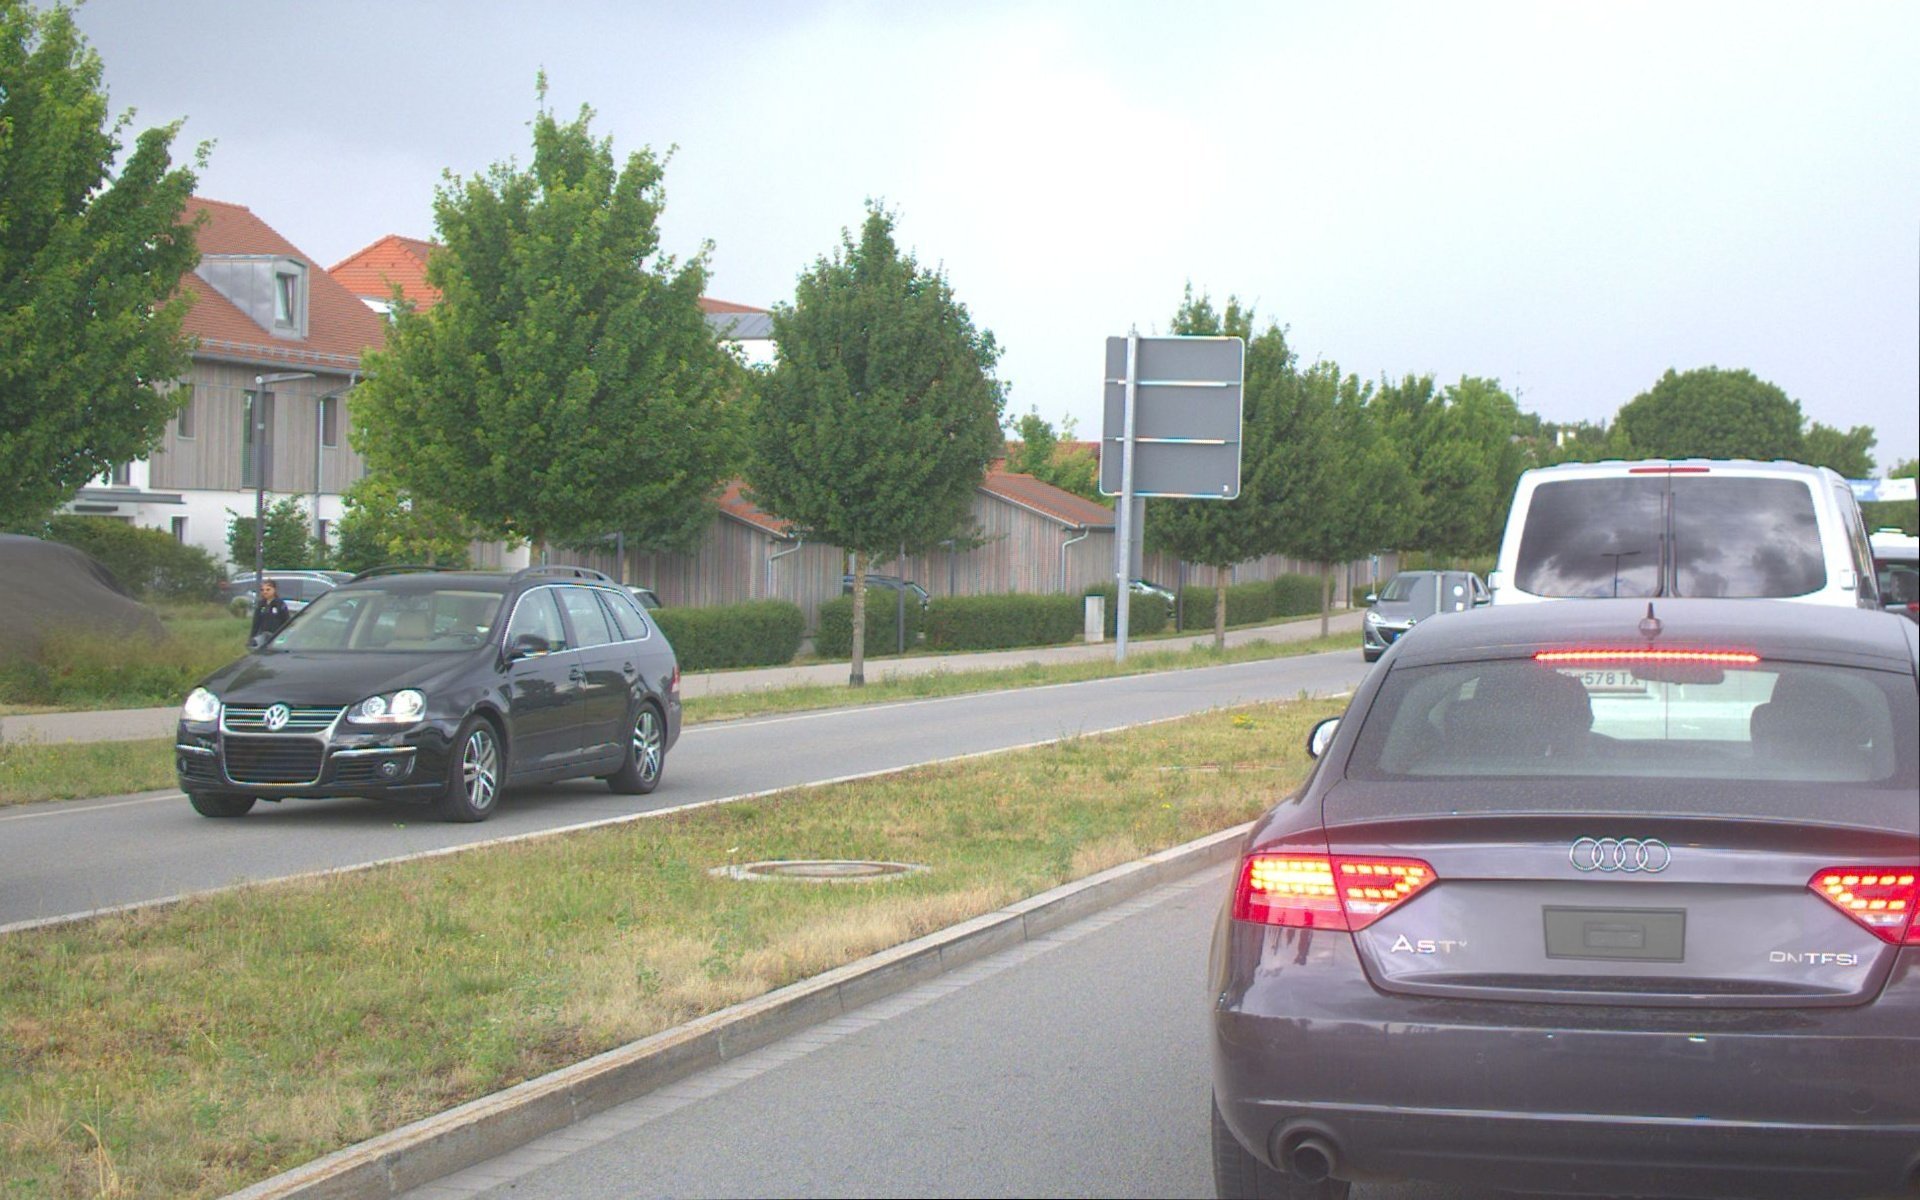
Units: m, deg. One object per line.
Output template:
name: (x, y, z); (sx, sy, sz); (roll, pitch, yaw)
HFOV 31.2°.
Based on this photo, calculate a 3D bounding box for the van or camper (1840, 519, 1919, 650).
van or camper: (24.931, -0.435, 91.651); (2.627, 3.312, 6.816); (2, 1, 15)

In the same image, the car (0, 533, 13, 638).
car: (-17.699, -0.281, 56.180); (1.996, 1.766, 4.460); (2, 0, 21)

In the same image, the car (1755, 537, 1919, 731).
car: (8.233, 0.272, 31.177); (1.778, 1.612, 3.997); (2, 1, 16)

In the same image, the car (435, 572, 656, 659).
car: (-7.786, 0.269, 64.643); (3.731, 1.477, 1.685); (2, 1, 13)

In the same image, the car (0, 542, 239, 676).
car: (-12.374, 0.080, 46.940); (4.535, 1.674, 1.998); (2, 1, 19)

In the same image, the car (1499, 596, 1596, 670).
car: (13.741, 0.748, 80.285); (1.868, 1.568, 3.997); (2, 1, 14)

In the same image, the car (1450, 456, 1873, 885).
car: (3.726, 0.294, 17.917); (1.868, 1.927, 3.997); (2, 1, 14)

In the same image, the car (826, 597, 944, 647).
car: (-1.702, 0.497, 78.577); (2.473, 1.025, 1.185); (2, 1, 11)

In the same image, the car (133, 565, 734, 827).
car: (-3.046, 0.496, 20.941); (1.755, 1.411, 4.451); (0, 1, 19)

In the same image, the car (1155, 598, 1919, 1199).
car: (1.737, 0.720, 8.316); (1.785, 1.387, 4.130); (1, 1, 14)

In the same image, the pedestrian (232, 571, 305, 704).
pedestrian: (-8.228, 0.439, 40.919); (0.582, 1.553, 0.659); (2, 1, 14)

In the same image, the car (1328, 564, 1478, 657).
car: (7.236, 0.145, 55.889); (1.731, 1.405, 4.202); (2, 1, 16)

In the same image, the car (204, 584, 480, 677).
car: (-9.913, 0.466, 55.216); (3.917, 1.310, 1.841); (2, 1, 14)
